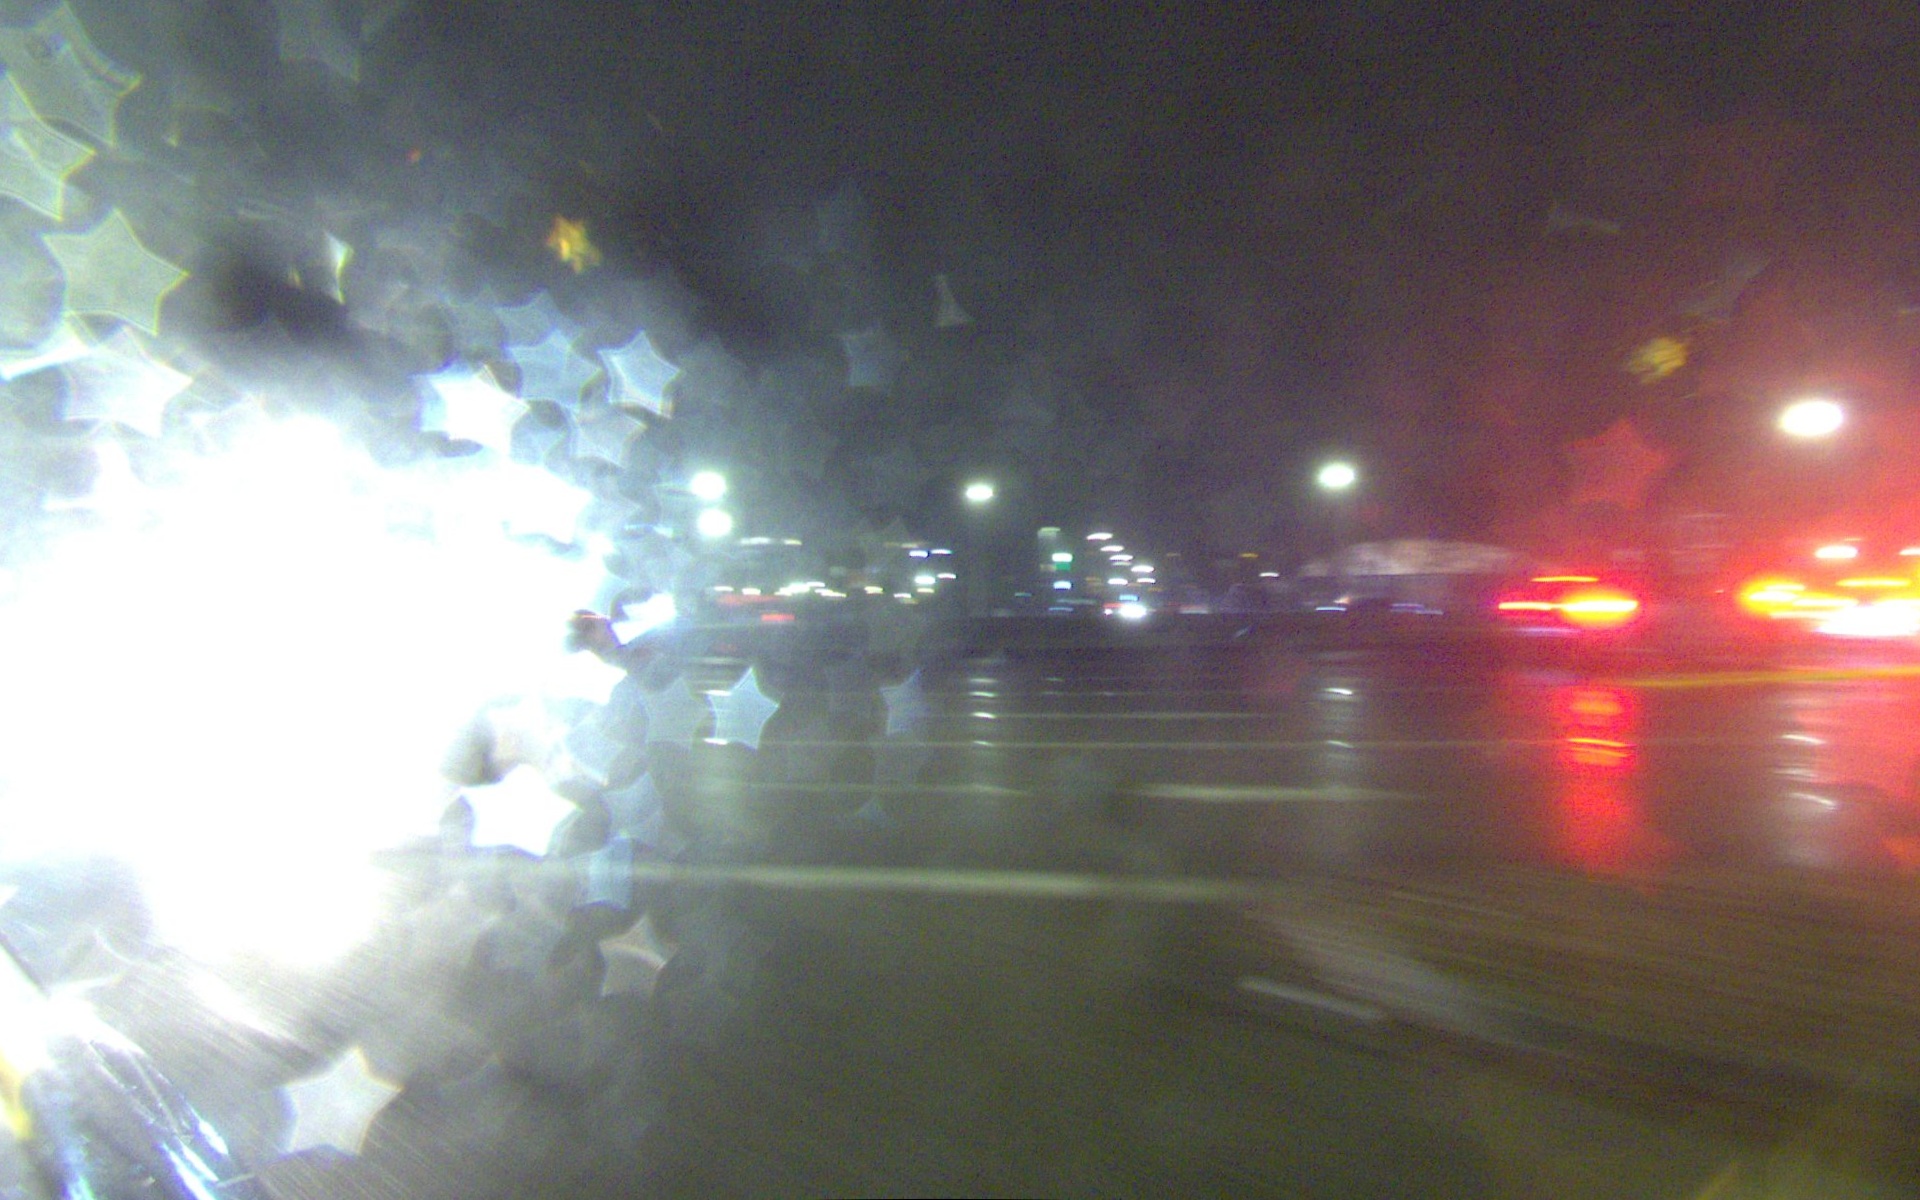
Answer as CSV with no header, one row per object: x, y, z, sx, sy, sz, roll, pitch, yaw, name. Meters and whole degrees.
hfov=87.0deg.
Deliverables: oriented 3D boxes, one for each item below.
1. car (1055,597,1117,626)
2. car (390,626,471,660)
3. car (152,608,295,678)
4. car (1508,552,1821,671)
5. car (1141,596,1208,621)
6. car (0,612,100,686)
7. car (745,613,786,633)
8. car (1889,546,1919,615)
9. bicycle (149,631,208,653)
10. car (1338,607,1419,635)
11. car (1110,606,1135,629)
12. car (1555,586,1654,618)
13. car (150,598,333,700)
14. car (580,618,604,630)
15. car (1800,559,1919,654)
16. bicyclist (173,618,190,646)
8.149,0.742,65.419,3.828,1.630,1.769,-3,0,9,car
-29.700,2.391,56.905,1.932,1.634,3.933,-3,0,13,car
-20.550,1.143,28.451,1.804,1.719,4.206,-3,0,-15,car
11.024,0.160,15.939,3.900,1.590,1.741,-3,0,-11,car
14.242,0.593,67.244,4.001,1.455,1.815,-3,0,30,car
-24.149,1.245,26.021,1.918,1.732,4.456,-3,0,-25,car
-17.174,2.018,89.163,1.747,1.630,3.877,-3,0,-43,car
30.293,-0.631,30.119,2.505,2.105,6.250,-3,0,30,car
-41.631,2.229,53.936,2.386,0.984,0.622,-3,0,-44,bicycle
24.587,1.253,59.577,4.016,1.455,1.808,-3,0,41,car
12.616,1.342,78.612,1.739,1.586,3.990,-3,0,8,car
32.933,0.135,51.770,4.016,1.455,1.808,-3,0,41,car
-12.918,0.833,18.051,4.876,1.538,1.808,-3,0,45,car
-46.208,2.995,126.957,1.800,1.383,3.956,-3,0,-36,car
17.573,0.056,18.787,3.898,1.590,1.882,-3,0,-32,car
-41.555,1.690,54.018,0.597,1.458,0.617,-2,0,-44,bicyclist
